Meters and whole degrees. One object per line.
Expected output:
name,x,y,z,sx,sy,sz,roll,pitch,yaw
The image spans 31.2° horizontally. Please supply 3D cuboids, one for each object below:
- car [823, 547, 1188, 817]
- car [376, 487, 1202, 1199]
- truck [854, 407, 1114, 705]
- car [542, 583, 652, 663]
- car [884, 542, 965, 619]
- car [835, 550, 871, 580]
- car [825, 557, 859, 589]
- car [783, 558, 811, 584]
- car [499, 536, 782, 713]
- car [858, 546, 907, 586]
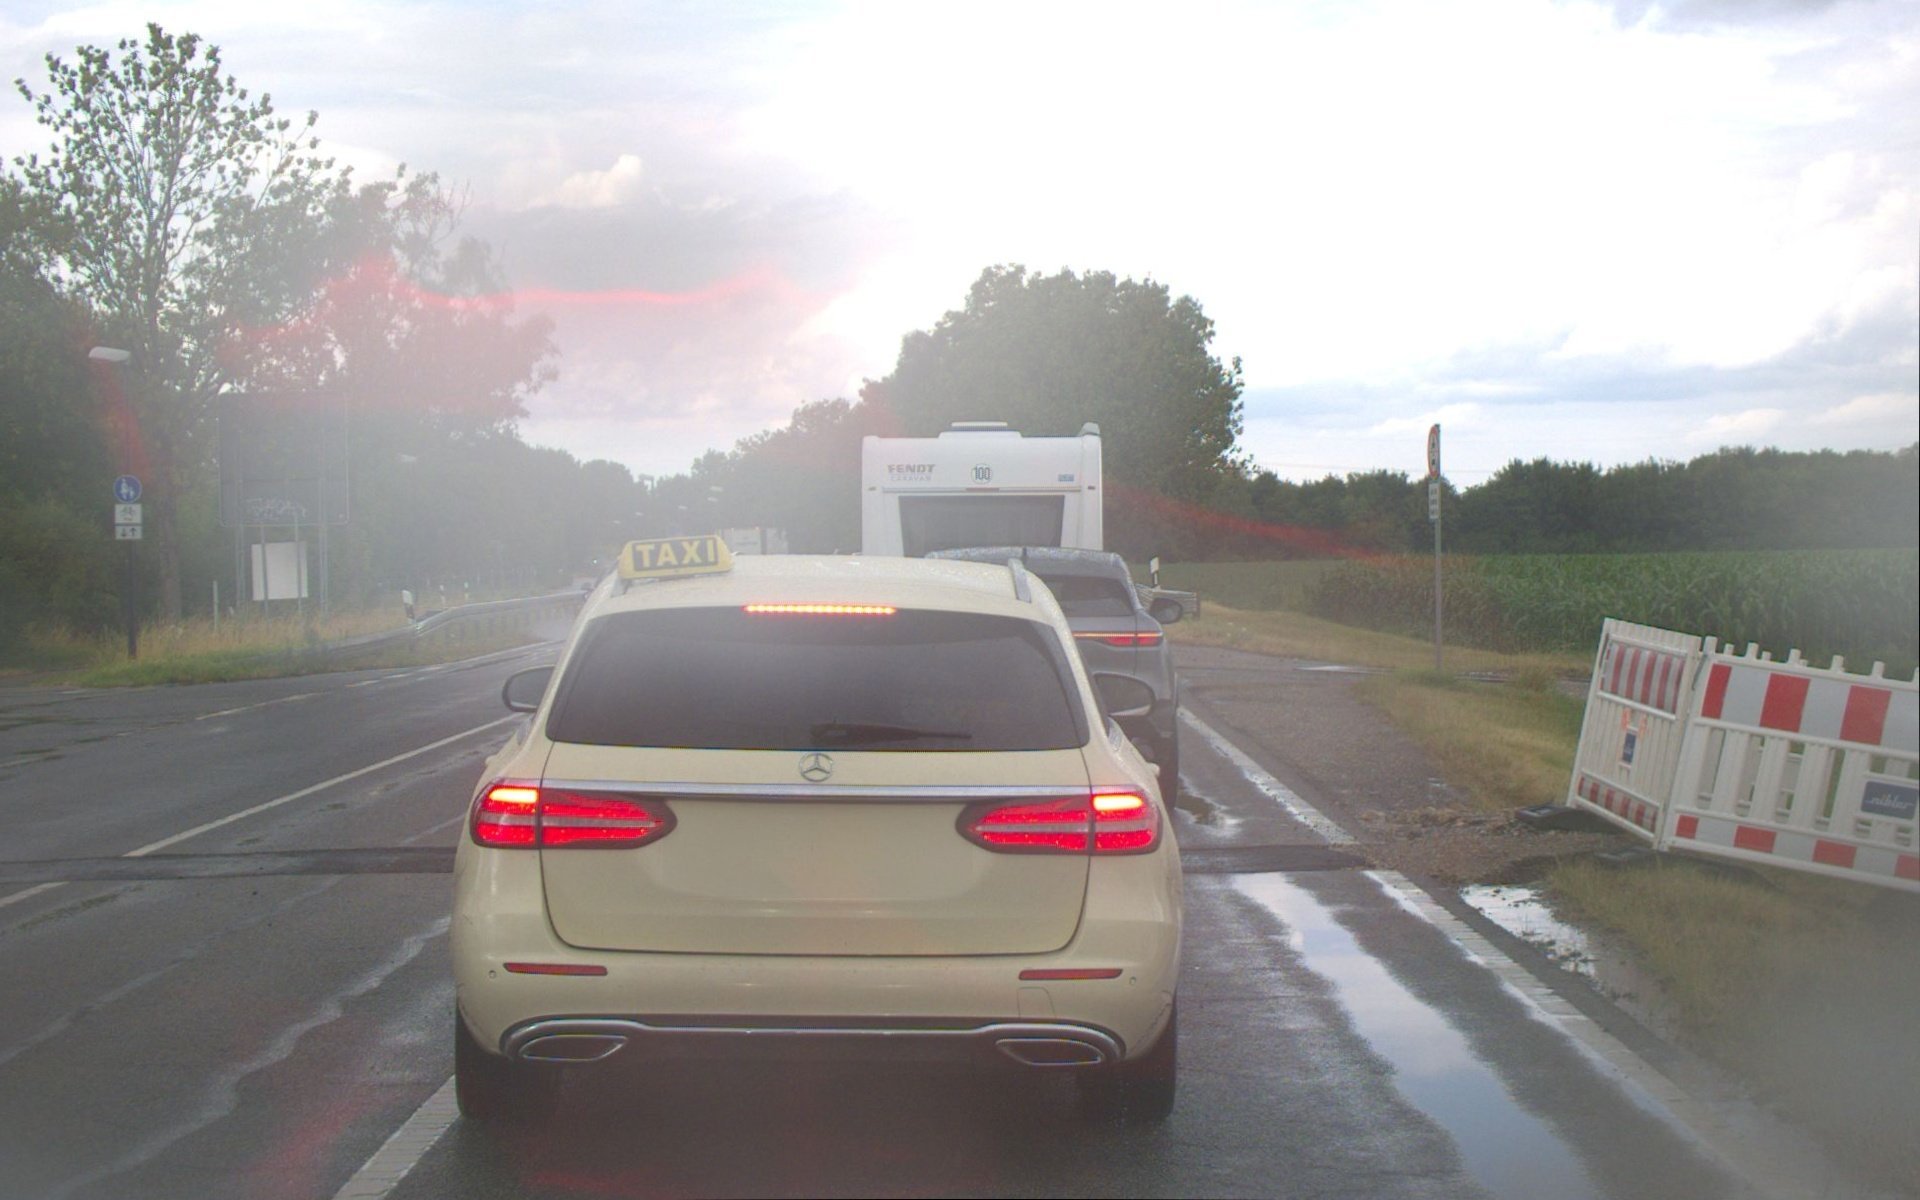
car,0.233,0.432,20.937,1.993,1.457,4.000,1,1,0
car,-0.400,0.533,9.703,1.842,1.612,4.000,0,1,0
truck,0.191,-0.465,35.611,2.363,2.719,7.314,-1,1,0
car,-7.020,0.419,66.769,1.719,1.399,4.044,-3,1,-1
car,-0.867,-0.506,85.246,1.915,1.834,3.796,-1,1,0
car,-6.139,-2.007,196.753,1.748,1.656,3.673,-1,1,-5
car,-7.215,-1.676,209.742,1.895,1.888,3.844,-1,1,-3
car,-11.903,-2.144,251.041,1.895,1.833,3.882,-1,1,0
car,-2.969,0.198,32.954,2.302,1.542,4.632,1,1,0
car,-3.515,-1.540,155.582,1.993,1.766,4.001,-1,1,-4
